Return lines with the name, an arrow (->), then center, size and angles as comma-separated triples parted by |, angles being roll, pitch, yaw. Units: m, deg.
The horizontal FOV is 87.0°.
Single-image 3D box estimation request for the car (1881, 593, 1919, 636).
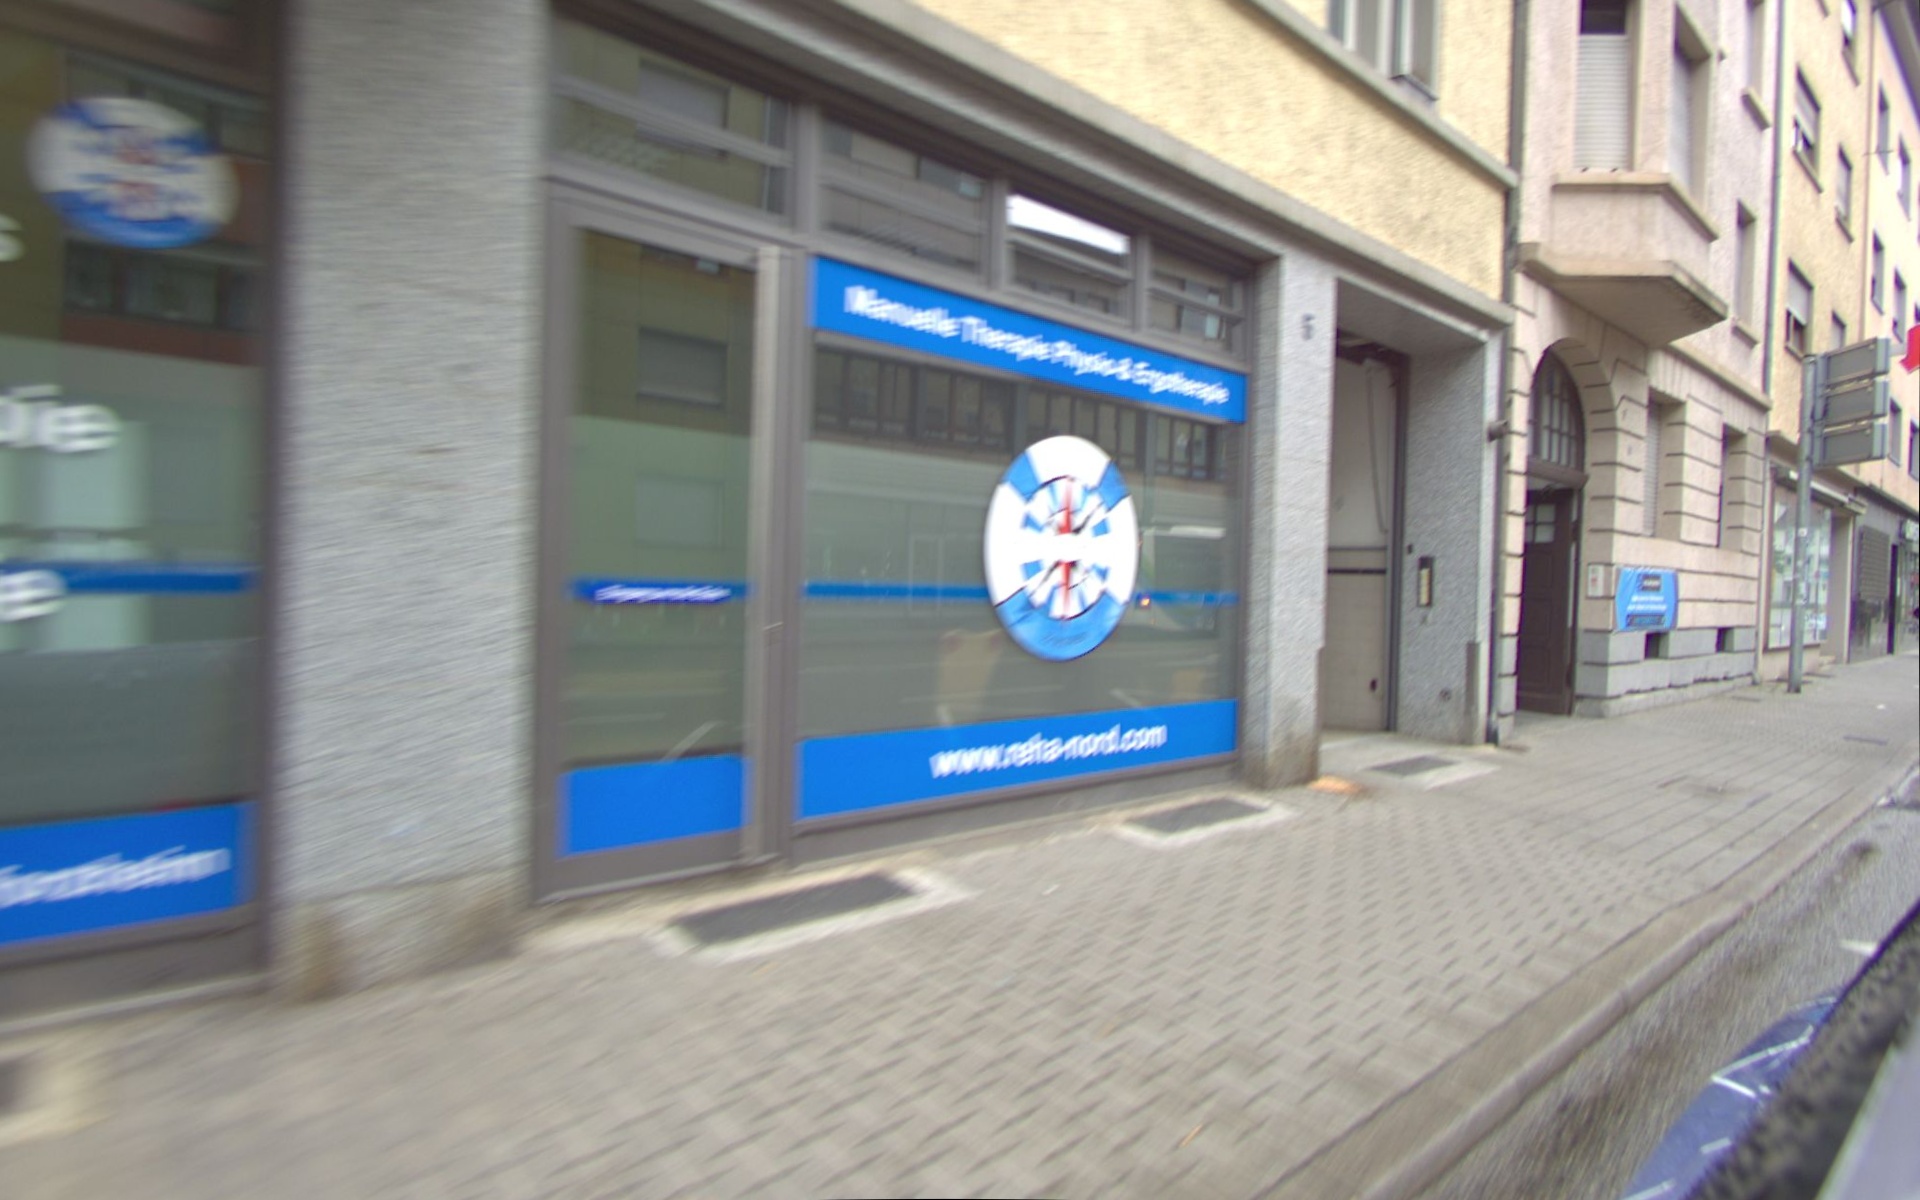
car -> 37.553, 0.597, 38.145 | 1.900, 1.593, 3.839 | 0, 2, -35
